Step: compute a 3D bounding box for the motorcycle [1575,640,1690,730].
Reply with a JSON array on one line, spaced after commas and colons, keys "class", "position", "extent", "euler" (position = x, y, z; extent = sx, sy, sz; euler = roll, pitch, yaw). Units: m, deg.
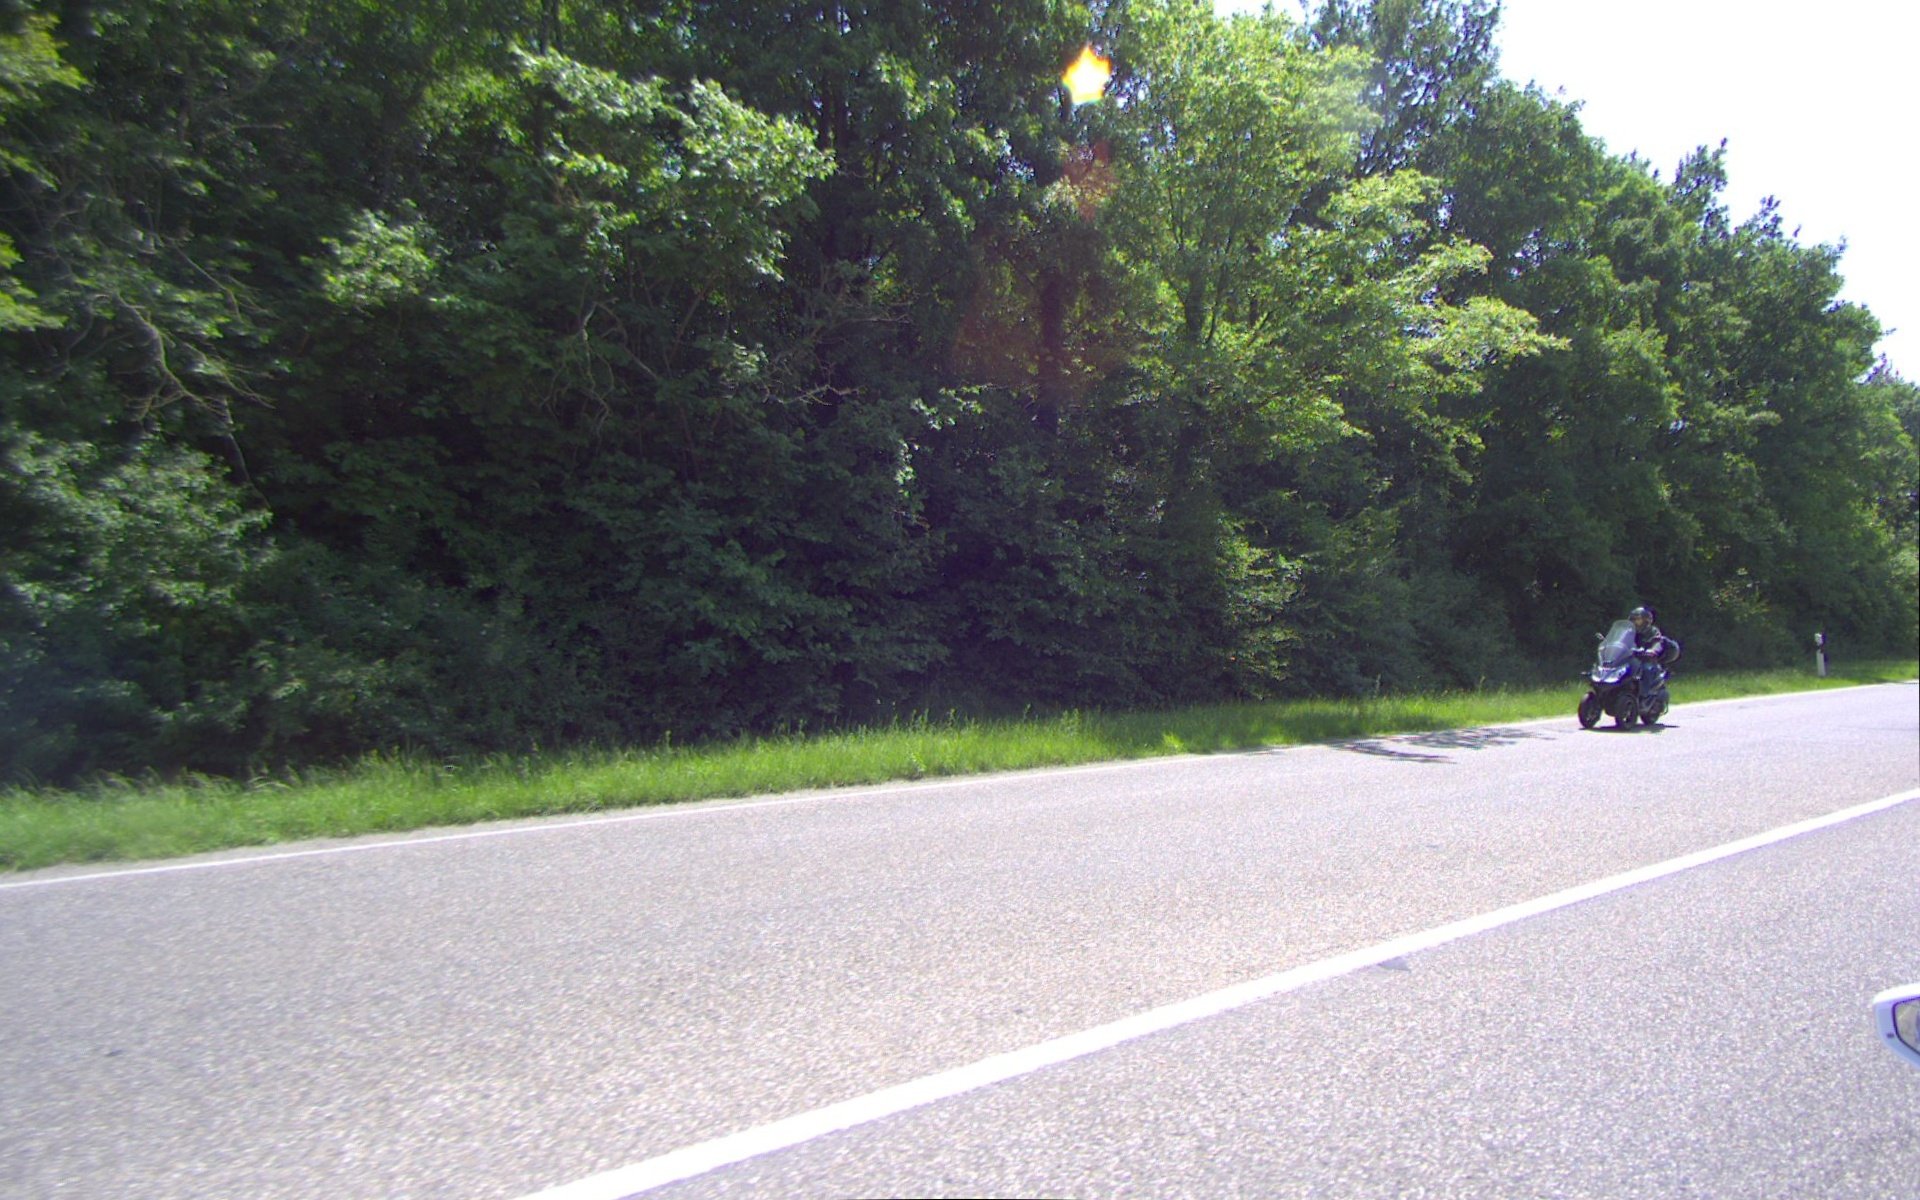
[{"class": "motorcycle", "position": [9.728, 1.186, 14.503], "extent": [2.210, 1.190, 0.665], "euler": [1, 0, -37]}]

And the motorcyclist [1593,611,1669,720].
[{"class": "motorcyclist", "position": [9.621, 0.920, 14.410], "extent": [0.806, 1.495, 0.665], "euler": [1, 0, -37]}]
